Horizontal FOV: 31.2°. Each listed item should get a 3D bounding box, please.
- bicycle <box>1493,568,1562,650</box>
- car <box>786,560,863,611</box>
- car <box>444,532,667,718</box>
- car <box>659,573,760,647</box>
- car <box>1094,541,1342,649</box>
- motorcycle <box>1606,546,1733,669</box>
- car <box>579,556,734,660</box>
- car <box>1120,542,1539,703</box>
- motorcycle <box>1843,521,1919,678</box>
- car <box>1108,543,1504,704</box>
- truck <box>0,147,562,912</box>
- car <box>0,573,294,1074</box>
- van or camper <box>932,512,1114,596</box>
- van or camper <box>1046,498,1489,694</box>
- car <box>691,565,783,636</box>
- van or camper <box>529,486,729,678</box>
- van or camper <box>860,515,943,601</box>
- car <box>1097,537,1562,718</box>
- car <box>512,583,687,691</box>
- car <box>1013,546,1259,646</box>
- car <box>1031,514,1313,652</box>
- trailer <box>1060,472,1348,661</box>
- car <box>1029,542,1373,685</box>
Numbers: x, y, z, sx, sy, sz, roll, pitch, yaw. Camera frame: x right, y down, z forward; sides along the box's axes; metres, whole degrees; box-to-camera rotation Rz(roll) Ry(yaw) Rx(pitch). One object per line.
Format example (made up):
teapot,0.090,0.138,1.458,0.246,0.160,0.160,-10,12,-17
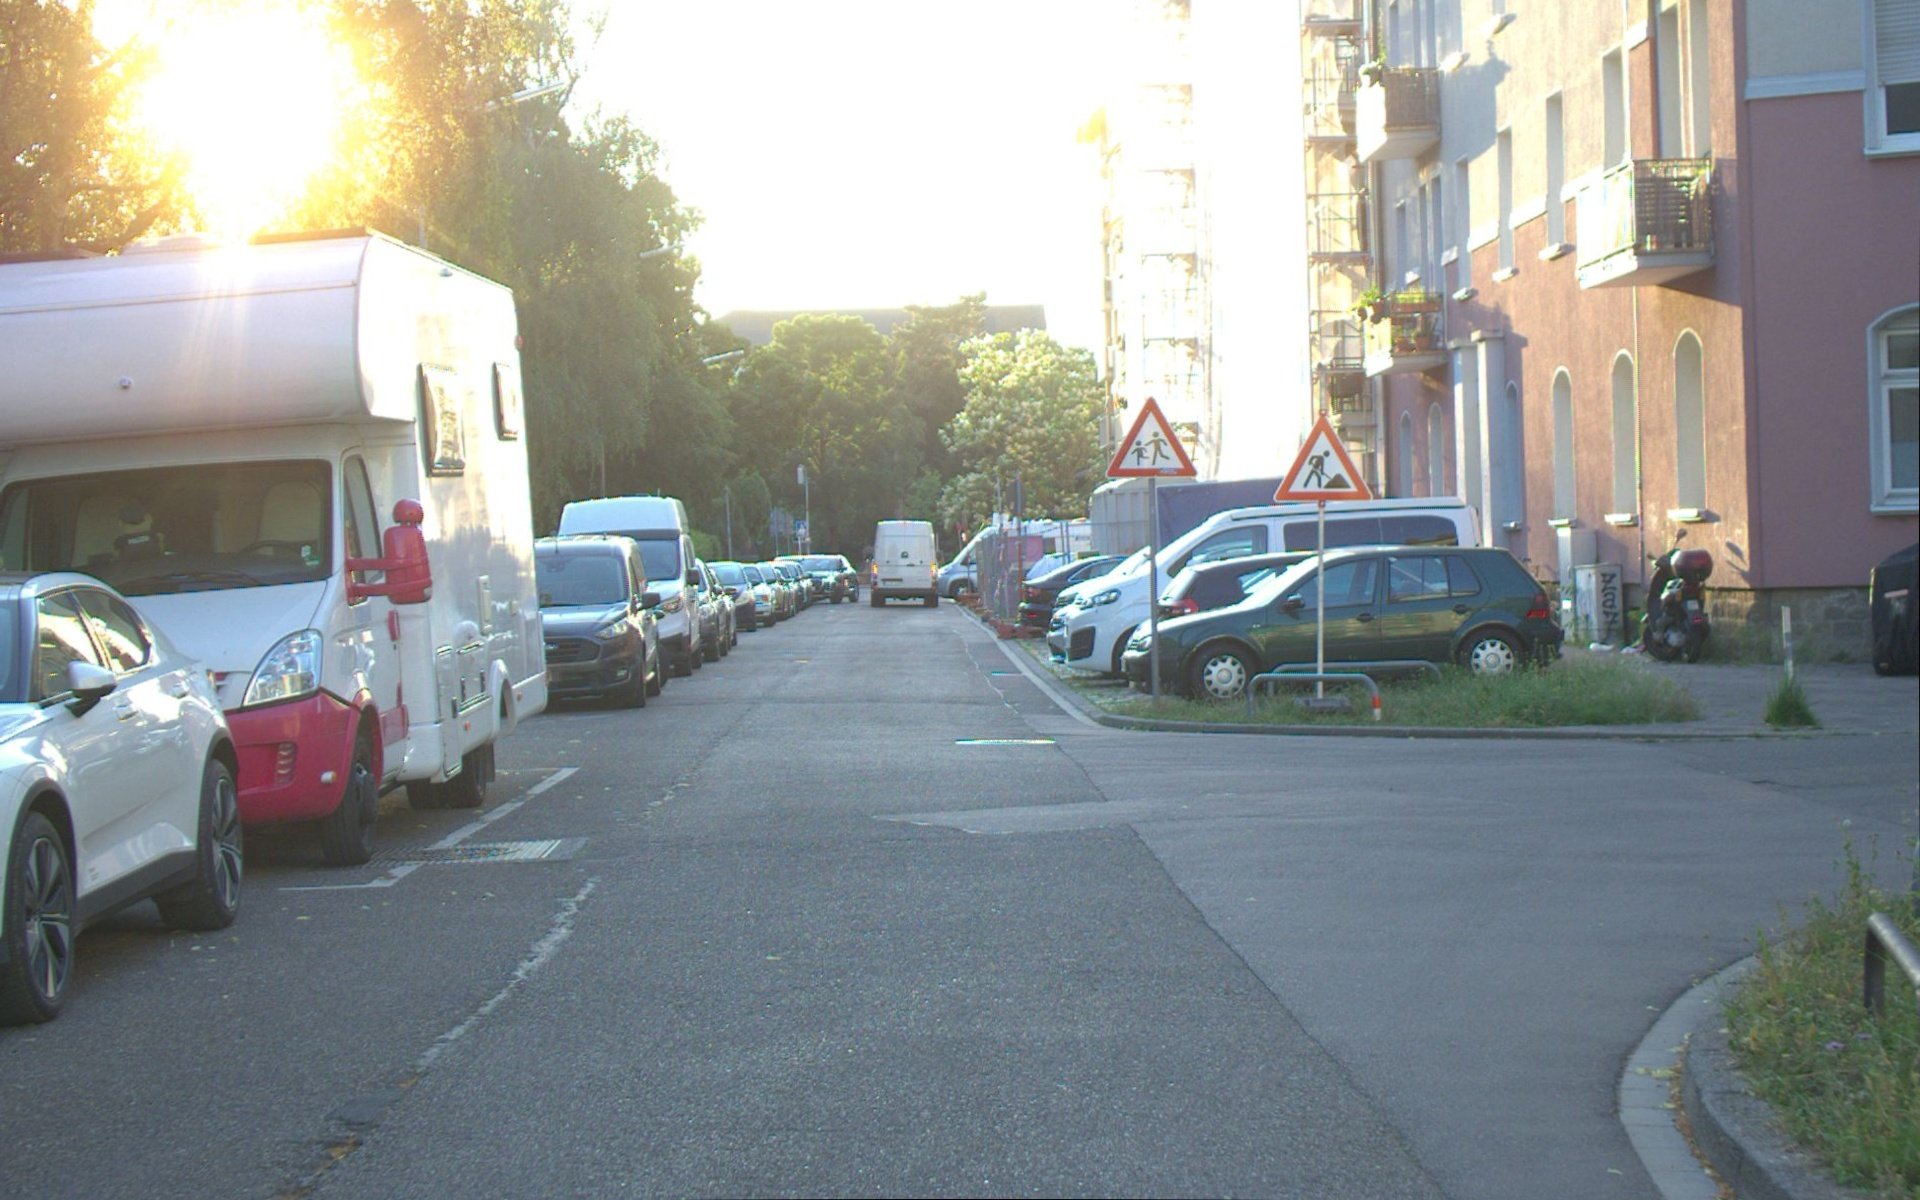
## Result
bicycle,7.564,0.108,45.889,0.515,1.057,1.905,-1,1,-3
car,-4.435,-0.488,112.981,1.805,1.564,4.564,-2,0,7
car,-4.232,0.214,36.662,1.910,1.782,4.950,-2,1,-2
car,-5.158,0.180,71.009,1.993,1.448,4.001,-1,1,-4
car,4.060,-0.095,54.445,3.691,1.605,1.745,-1,1,-3
motorcycle,7.442,0.059,36.191,0.742,1.231,2.653,-1,1,-1
car,-4.637,0.091,53.121,1.993,1.514,4.789,-1,1,0
car,3.731,0.210,35.251,3.986,1.525,2.000,-1,1,-2
motorcycle,9.116,-0.029,32.313,0.837,1.429,2.348,-1,1,34
car,3.702,0.234,37.294,3.986,1.612,2.000,-1,1,-2
truck,-4.050,-0.342,19.508,2.525,3.342,8.018,-4,1,-1
car,-3.917,0.721,12.672,1.907,1.471,4.910,-4,1,0
van or camper,2.075,-1.509,114.009,5.928,2.760,2.110,0,0,-2
van or camper,3.480,-0.060,39.587,4.833,2.089,2.041,-1,1,-2
car,-4.963,-0.015,77.111,1.782,1.441,4.749,-4,1,-1
van or camper,-4.484,-0.275,47.457,1.993,2.448,6.083,-1,1,1
van or camper,-1.787,-1.295,105.742,2.453,2.538,6.083,1,1,-1
car,3.456,0.239,32.636,4.101,1.580,1.855,-1,1,-4
car,-4.368,0.414,41.673,1.993,1.185,4.037,-1,1,-6
car,3.016,-0.077,59.576,4.153,1.610,1.872,-1,1,1
car,3.477,-0.306,56.862,4.265,1.973,1.822,-4,2,-8
trailer,3.304,-0.463,47.058,3.566,2.329,1.941,-3,1,-4
car,2.915,0.158,42.316,3.986,1.634,2.000,-1,0,-2
